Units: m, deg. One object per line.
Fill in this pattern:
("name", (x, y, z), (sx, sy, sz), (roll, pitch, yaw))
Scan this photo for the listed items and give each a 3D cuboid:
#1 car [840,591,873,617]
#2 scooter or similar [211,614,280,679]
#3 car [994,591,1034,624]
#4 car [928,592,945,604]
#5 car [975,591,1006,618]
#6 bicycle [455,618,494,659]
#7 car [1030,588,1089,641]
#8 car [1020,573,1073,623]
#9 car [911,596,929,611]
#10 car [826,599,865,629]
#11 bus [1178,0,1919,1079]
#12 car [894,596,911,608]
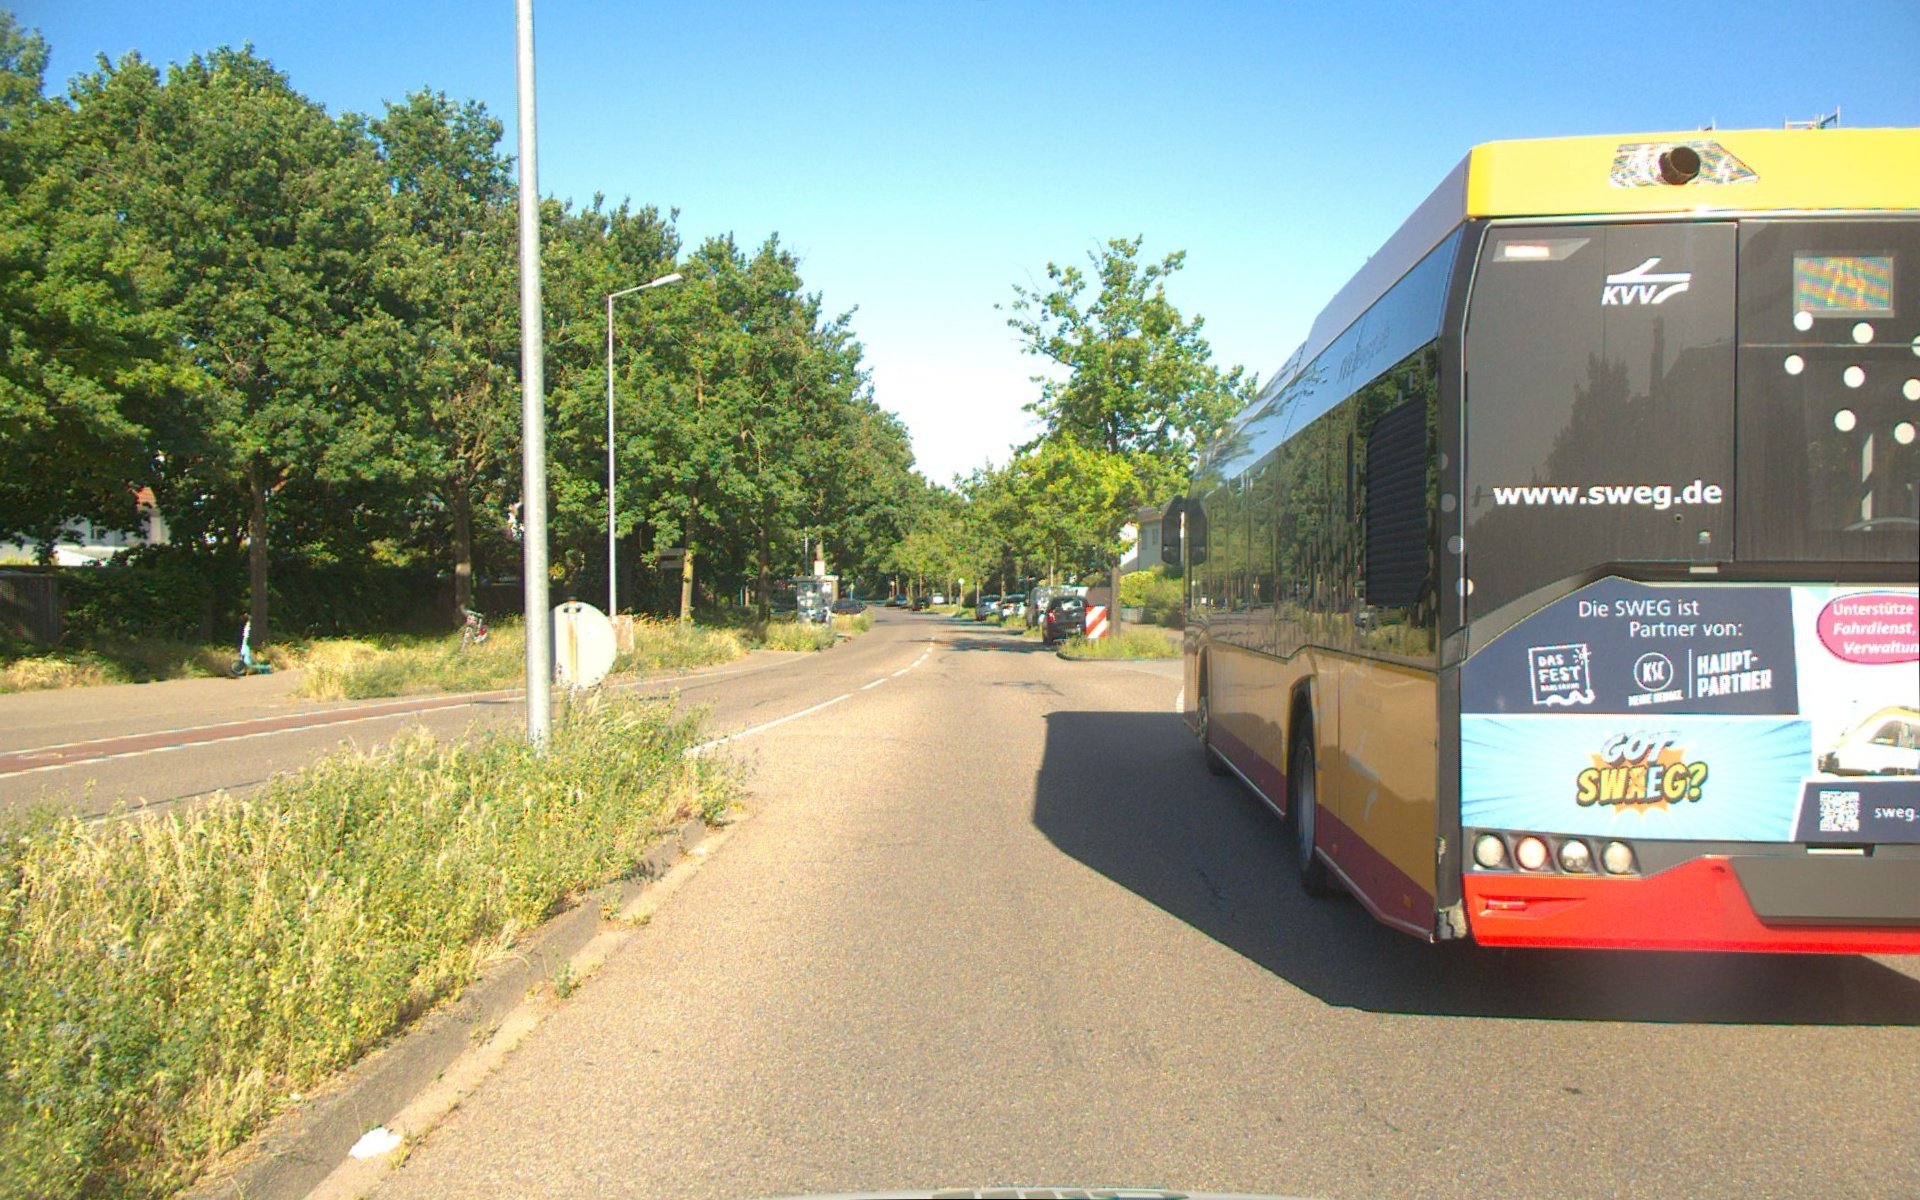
("car", (-6.474, 0.234, 103.296), (1.954, 1.584, 3.996), (0, 0, -5))
("scooter or similar", (-14.546, 0.928, 33.700), (0.527, 1.240, 1.414), (1, 2, 16))
("car", (2.915, 0.410, 89.921), (1.897, 1.734, 3.998), (0, 0, -2))
("car", (-2.927, -0.203, 207.631), (1.895, 1.479, 3.997), (0, 0, -4))
("car", (2.041, 0.315, 112.606), (1.894, 1.773, 3.998), (0, 0, -2))
("bicycle", (-13.290, 1.034, 45.324), (0.495, 1.072, 1.880), (-1, 0, 1))
("car", (3.249, 0.458, 54.373), (1.638, 1.606, 3.751), (-2, 0, 0))
("car", (3.606, -0.089, 69.939), (1.799, 2.005, 4.756), (0, 0, -2))
("car", (-4.357, 0.358, 181.531), (1.894, 1.569, 3.998), (0, 0, -2))
("car", (-5.881, 0.696, 85.035), (1.897, 1.505, 3.997), (0, 0, -4))
("bus", (3.206, -0.261, 11.256), (2.699, 3.519, 12.404), (-2, -1, 5))
("car", (-7.183, 0.280, 206.392), (1.895, 1.479, 3.997), (0, 0, -4))
